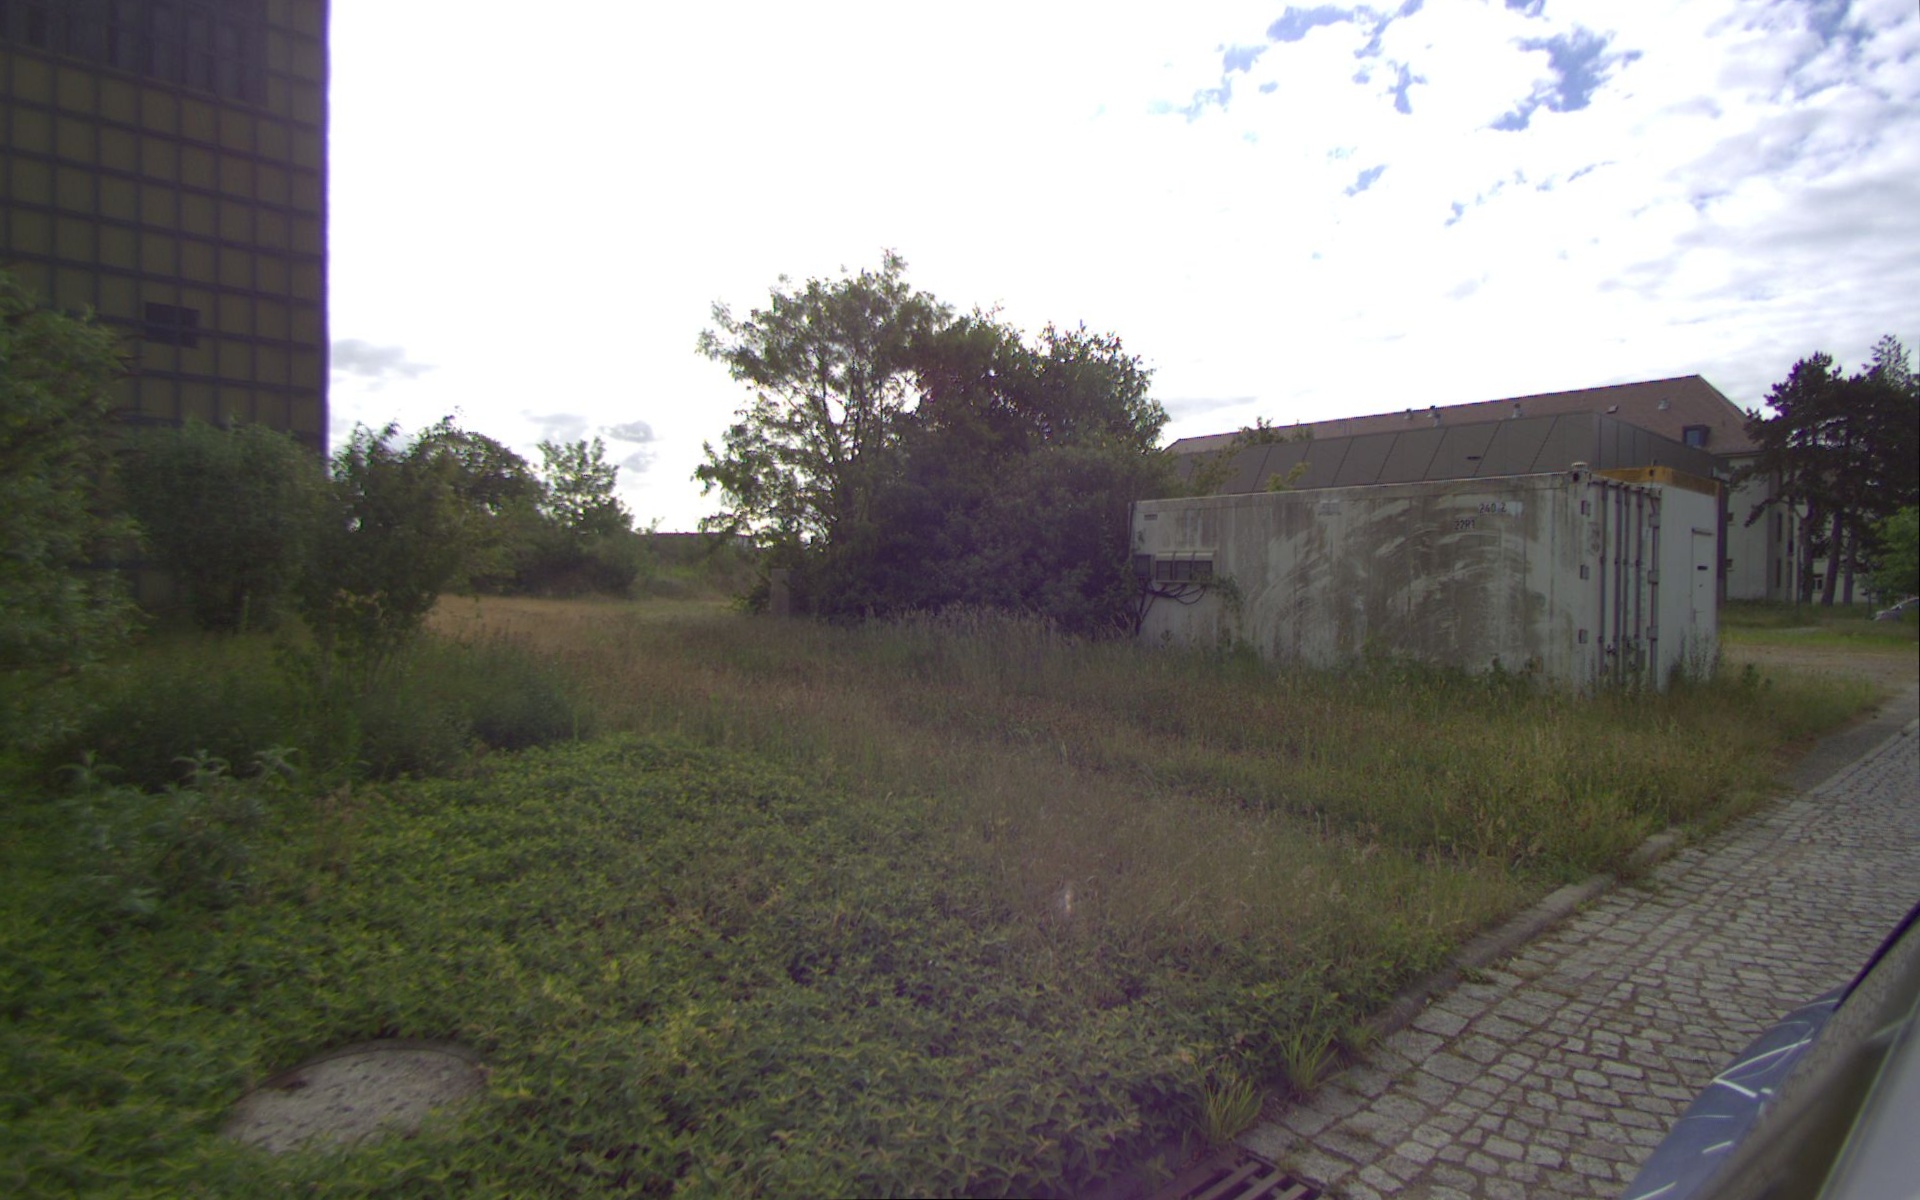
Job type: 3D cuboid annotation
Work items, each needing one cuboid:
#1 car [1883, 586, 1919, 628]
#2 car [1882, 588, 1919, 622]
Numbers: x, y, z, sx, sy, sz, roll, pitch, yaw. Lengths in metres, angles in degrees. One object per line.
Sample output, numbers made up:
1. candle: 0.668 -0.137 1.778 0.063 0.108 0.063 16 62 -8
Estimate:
1. car: 38.956 0.321 40.498 1.653 1.601 2.748 0 3 -40
2. car: 44.372 0.313 45.184 1.899 1.467 4.533 0 3 -42
